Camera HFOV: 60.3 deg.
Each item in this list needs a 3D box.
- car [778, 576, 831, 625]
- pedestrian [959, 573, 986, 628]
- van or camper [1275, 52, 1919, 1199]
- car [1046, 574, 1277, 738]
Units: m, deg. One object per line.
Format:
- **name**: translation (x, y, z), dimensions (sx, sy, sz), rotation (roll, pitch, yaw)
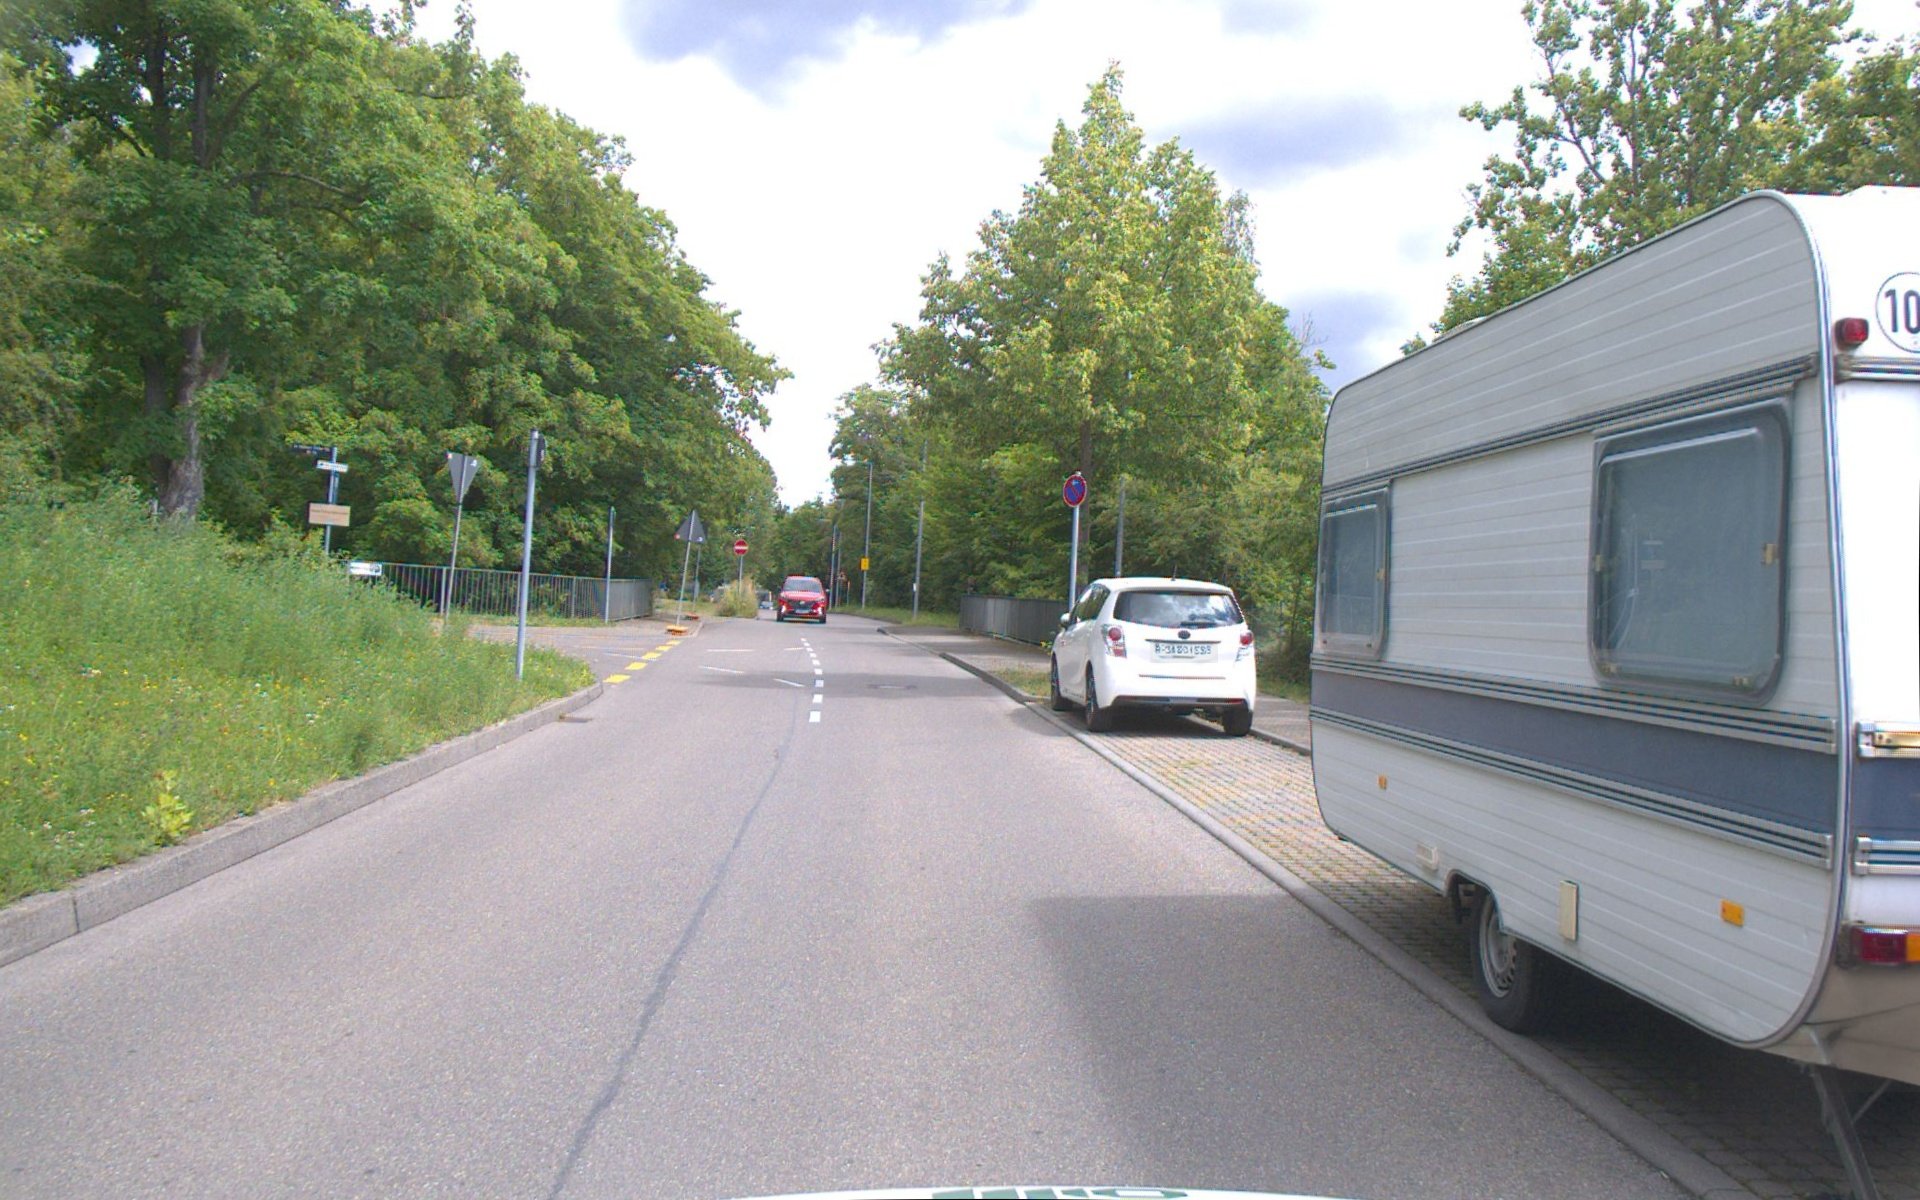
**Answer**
- **car**: translation (-5.765, -0.020, 61.771), dimensions (1.807, 1.687, 4.218), rotation (2, 1, -4)
- **pedestrian**: translation (0.409, 0.018, 55.899), dimensions (0.580, 1.814, 0.676), rotation (4, -2, -29)
- **van or camper**: translation (2.920, 0.179, 6.038), dimensions (2.307, 2.598, 5.071), rotation (1, 0, -3)
- **car**: translation (2.160, 0.547, 18.920), dimensions (1.769, 1.628, 4.368), rotation (1, 1, -5)
